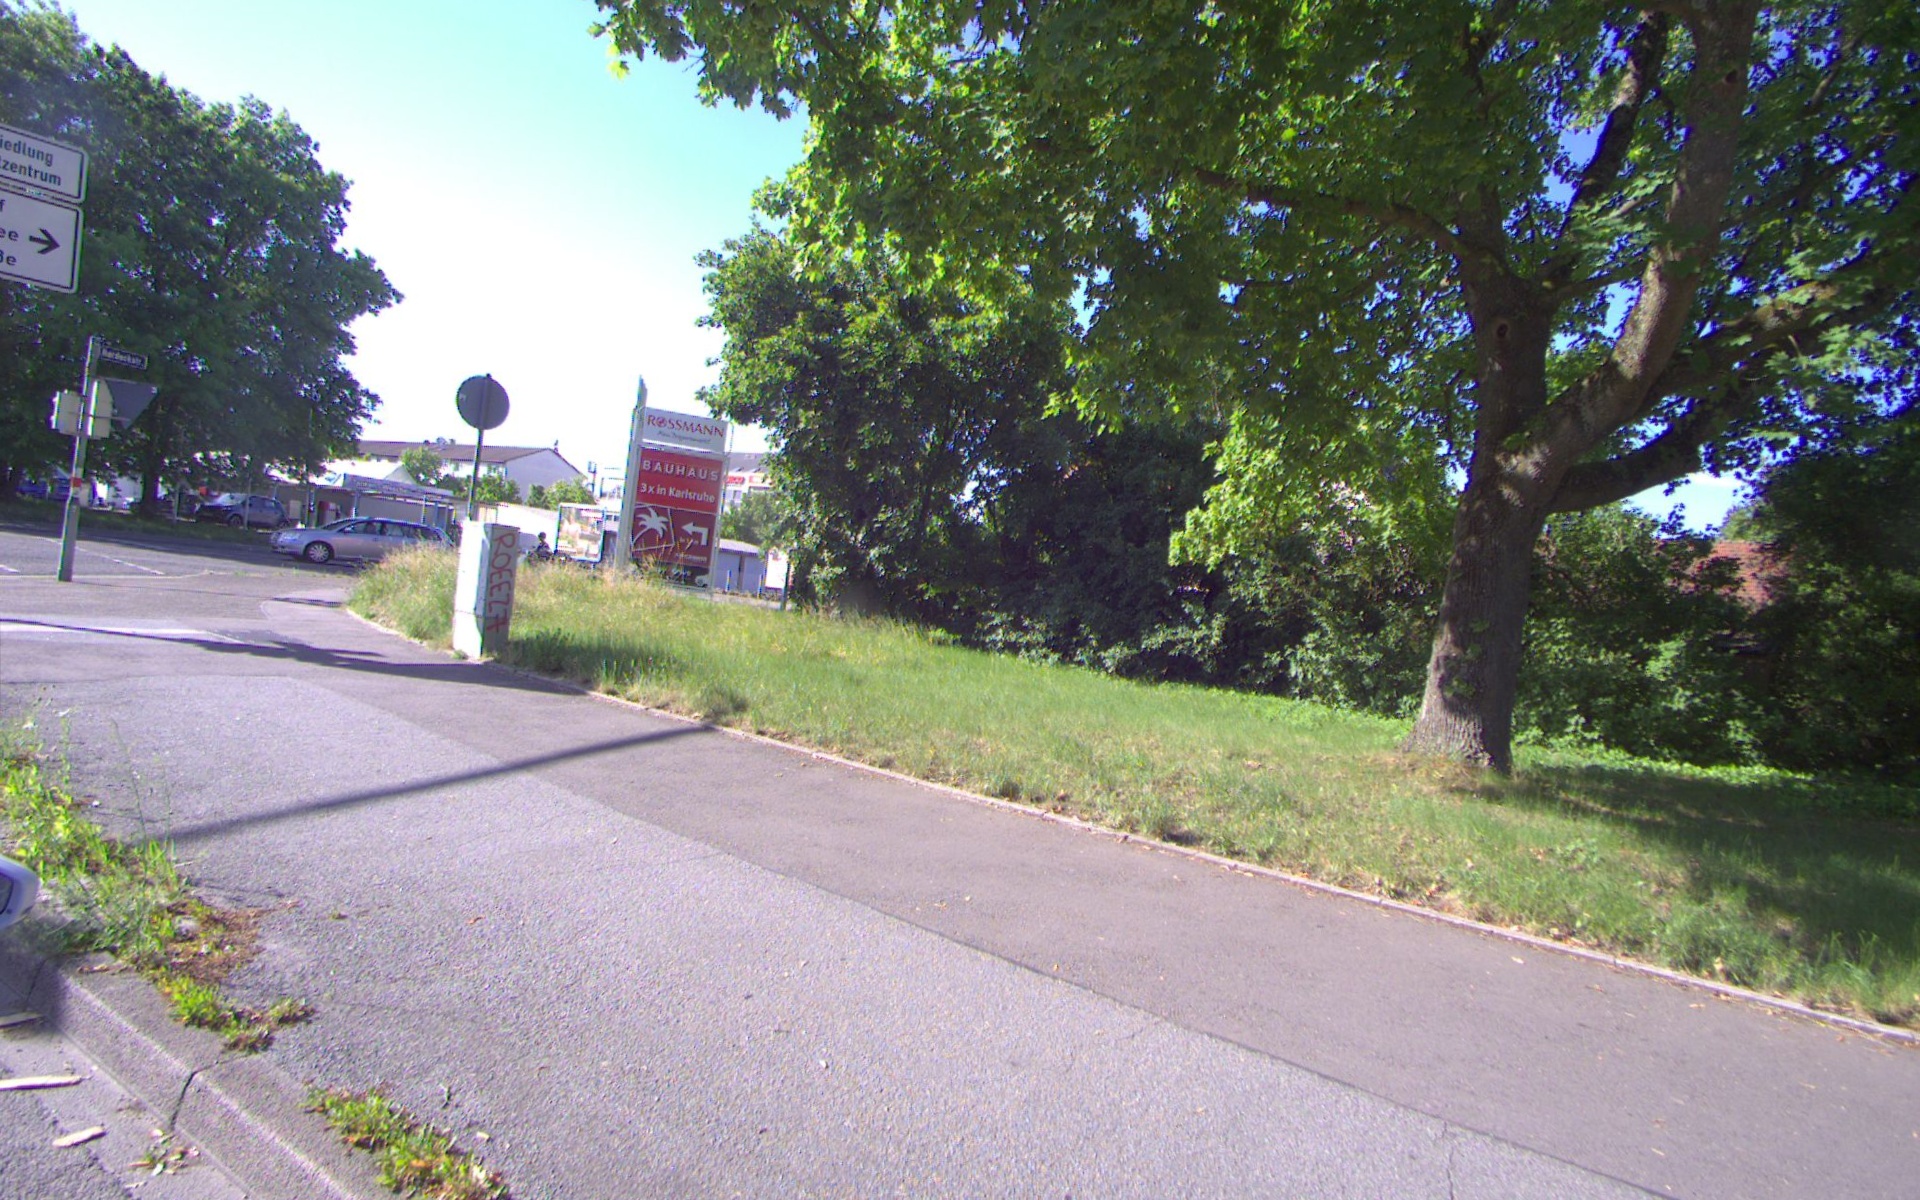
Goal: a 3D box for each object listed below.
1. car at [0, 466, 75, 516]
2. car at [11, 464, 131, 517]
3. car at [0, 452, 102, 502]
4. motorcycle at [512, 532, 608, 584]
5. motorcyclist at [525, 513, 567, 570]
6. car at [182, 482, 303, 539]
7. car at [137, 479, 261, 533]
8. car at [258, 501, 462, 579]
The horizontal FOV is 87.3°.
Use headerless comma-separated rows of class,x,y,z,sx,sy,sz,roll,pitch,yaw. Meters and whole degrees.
car,-42.266,-4.950,44.981,1.672,1.704,3.729,7,-2,6
car,-39.501,-4.825,44.829,1.772,1.581,3.851,8,-2,0
car,-45.630,-6.122,50.255,1.675,1.704,3.722,7,-3,29
motorcycle,-13.173,-1.363,33.210,2.718,1.285,0.824,10,-3,-43
motorcyclist,-13.512,-1.900,32.813,0.858,1.699,0.824,9,-2,-42
car,-30.455,-3.753,42.850,1.771,1.630,3.854,7,-2,12
car,-32.531,-3.996,43.137,1.771,1.499,3.854,7,-2,12
car,-17.155,-1.684,28.935,1.973,1.593,4.609,6,-1,43
